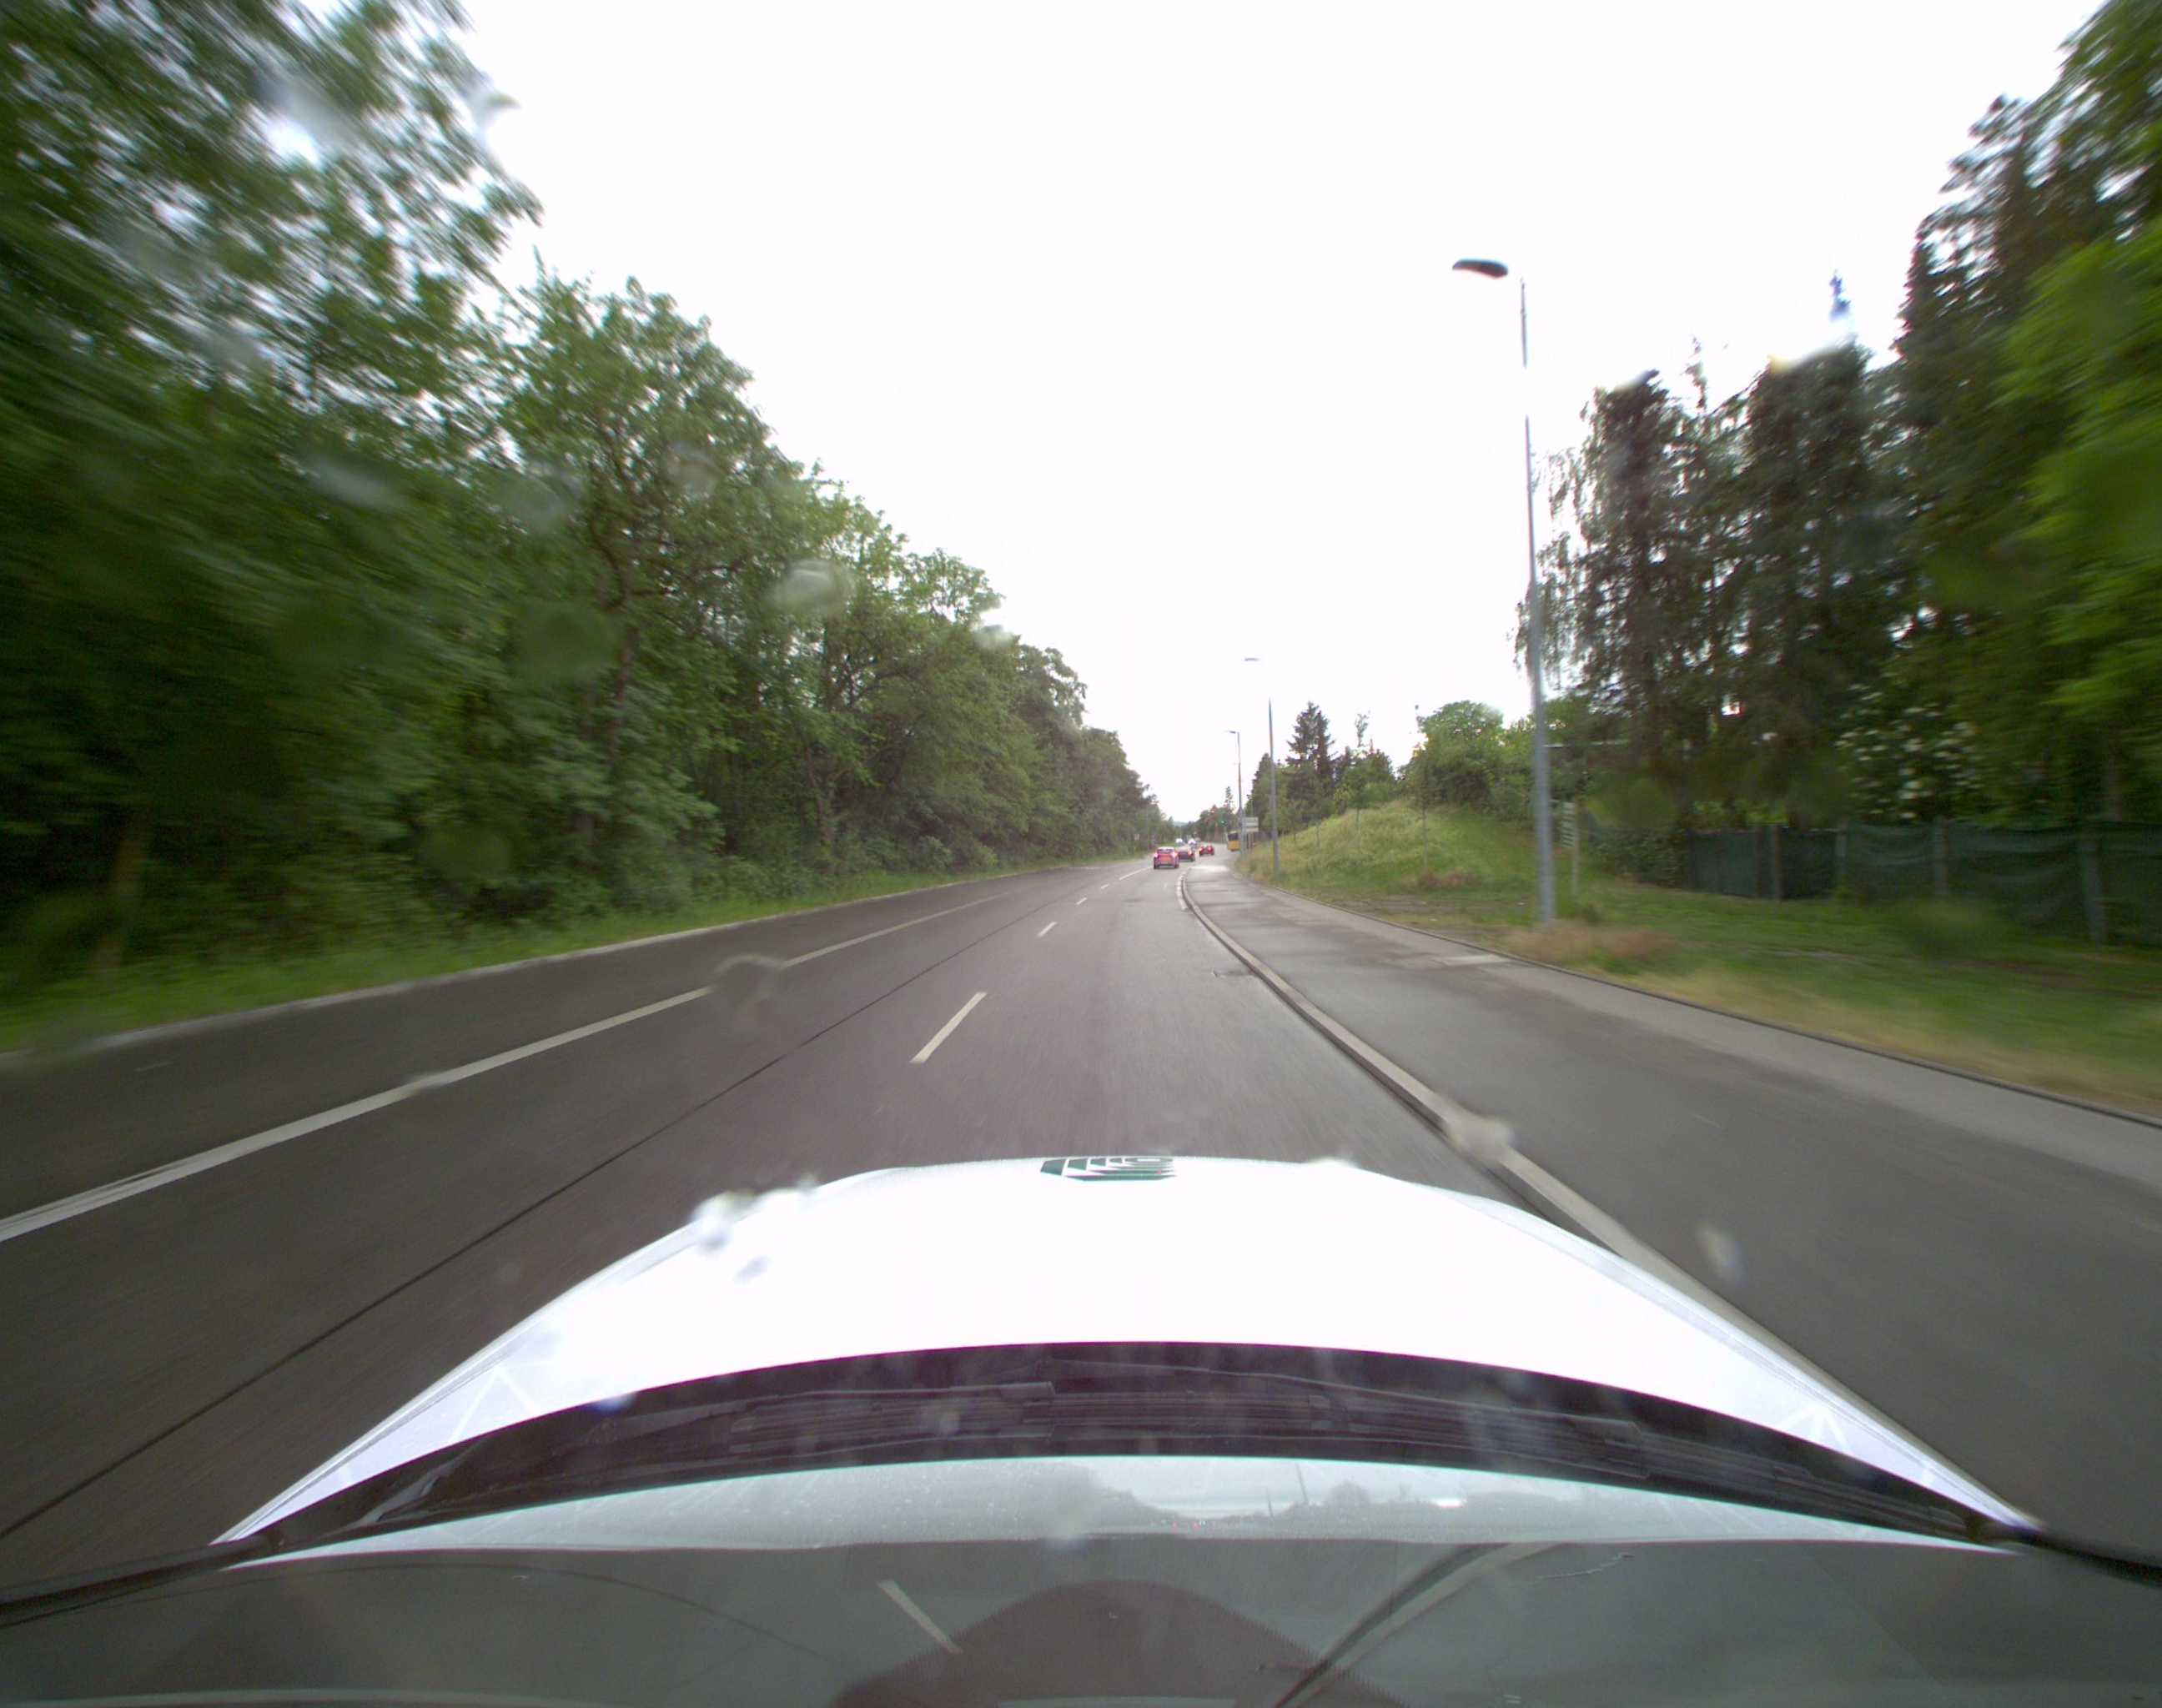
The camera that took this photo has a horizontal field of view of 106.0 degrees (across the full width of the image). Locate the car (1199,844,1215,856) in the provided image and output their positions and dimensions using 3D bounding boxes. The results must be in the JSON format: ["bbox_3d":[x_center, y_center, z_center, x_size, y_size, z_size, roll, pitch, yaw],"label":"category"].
[{"bbox_3d":[16.796,-0.569,108.299,1.981,1.552,4.011,-1,0,10],"label":"car"}]

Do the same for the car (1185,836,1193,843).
[{"bbox_3d":[34.045,-4.541,257.399,2.258,2.335,5.597,-1,0,5],"label":"car"}]

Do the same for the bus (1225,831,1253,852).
[{"bbox_3d":[25.030,-1.954,128.624,2.793,3.142,9.228,-1,0,21],"label":"bus"}]

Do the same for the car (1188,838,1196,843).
[{"bbox_3d":[31.226,-3.862,229.429,1.984,1.420,4.006,-1,0,5],"label":"car"}]

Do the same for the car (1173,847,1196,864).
[{"bbox_3d":[10.303,0.152,80.786,1.915,1.486,3.812,-3,1,11],"label":"car"}]

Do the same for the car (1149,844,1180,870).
[{"bbox_3d":[6.254,0.168,60.446,1.982,1.689,4.011,-3,1,9],"label":"car"}]
